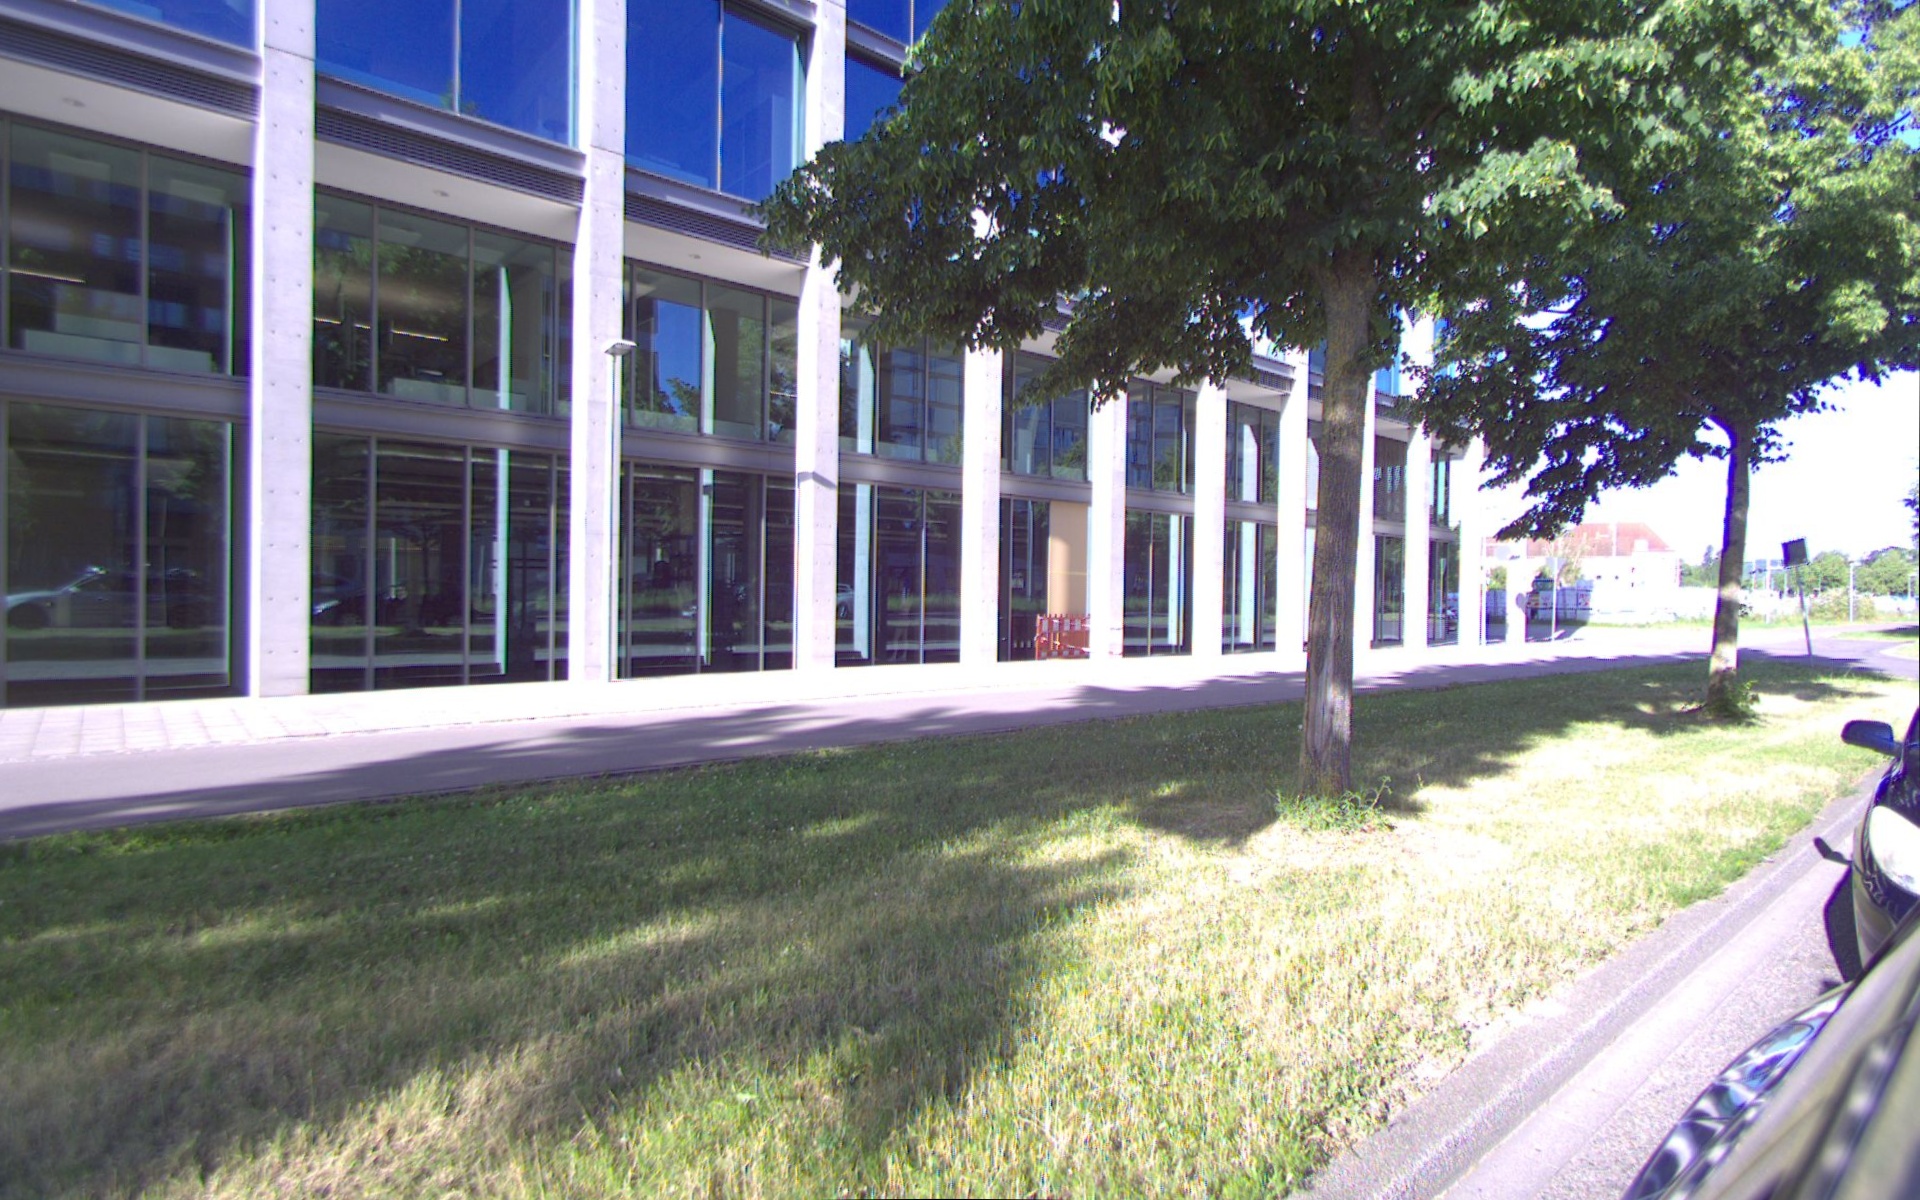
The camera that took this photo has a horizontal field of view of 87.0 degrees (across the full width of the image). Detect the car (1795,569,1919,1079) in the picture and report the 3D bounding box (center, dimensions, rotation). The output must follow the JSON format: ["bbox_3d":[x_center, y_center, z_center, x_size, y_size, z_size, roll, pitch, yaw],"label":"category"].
[{"bbox_3d":[4.895,0.664,3.935,4.403,1.500,1.845,0,1,-41],"label":"car"}]

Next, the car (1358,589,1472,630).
[{"bbox_3d":[19.500,0.375,43.486,1.963,1.598,3.997,0,1,-38],"label":"car"}]
